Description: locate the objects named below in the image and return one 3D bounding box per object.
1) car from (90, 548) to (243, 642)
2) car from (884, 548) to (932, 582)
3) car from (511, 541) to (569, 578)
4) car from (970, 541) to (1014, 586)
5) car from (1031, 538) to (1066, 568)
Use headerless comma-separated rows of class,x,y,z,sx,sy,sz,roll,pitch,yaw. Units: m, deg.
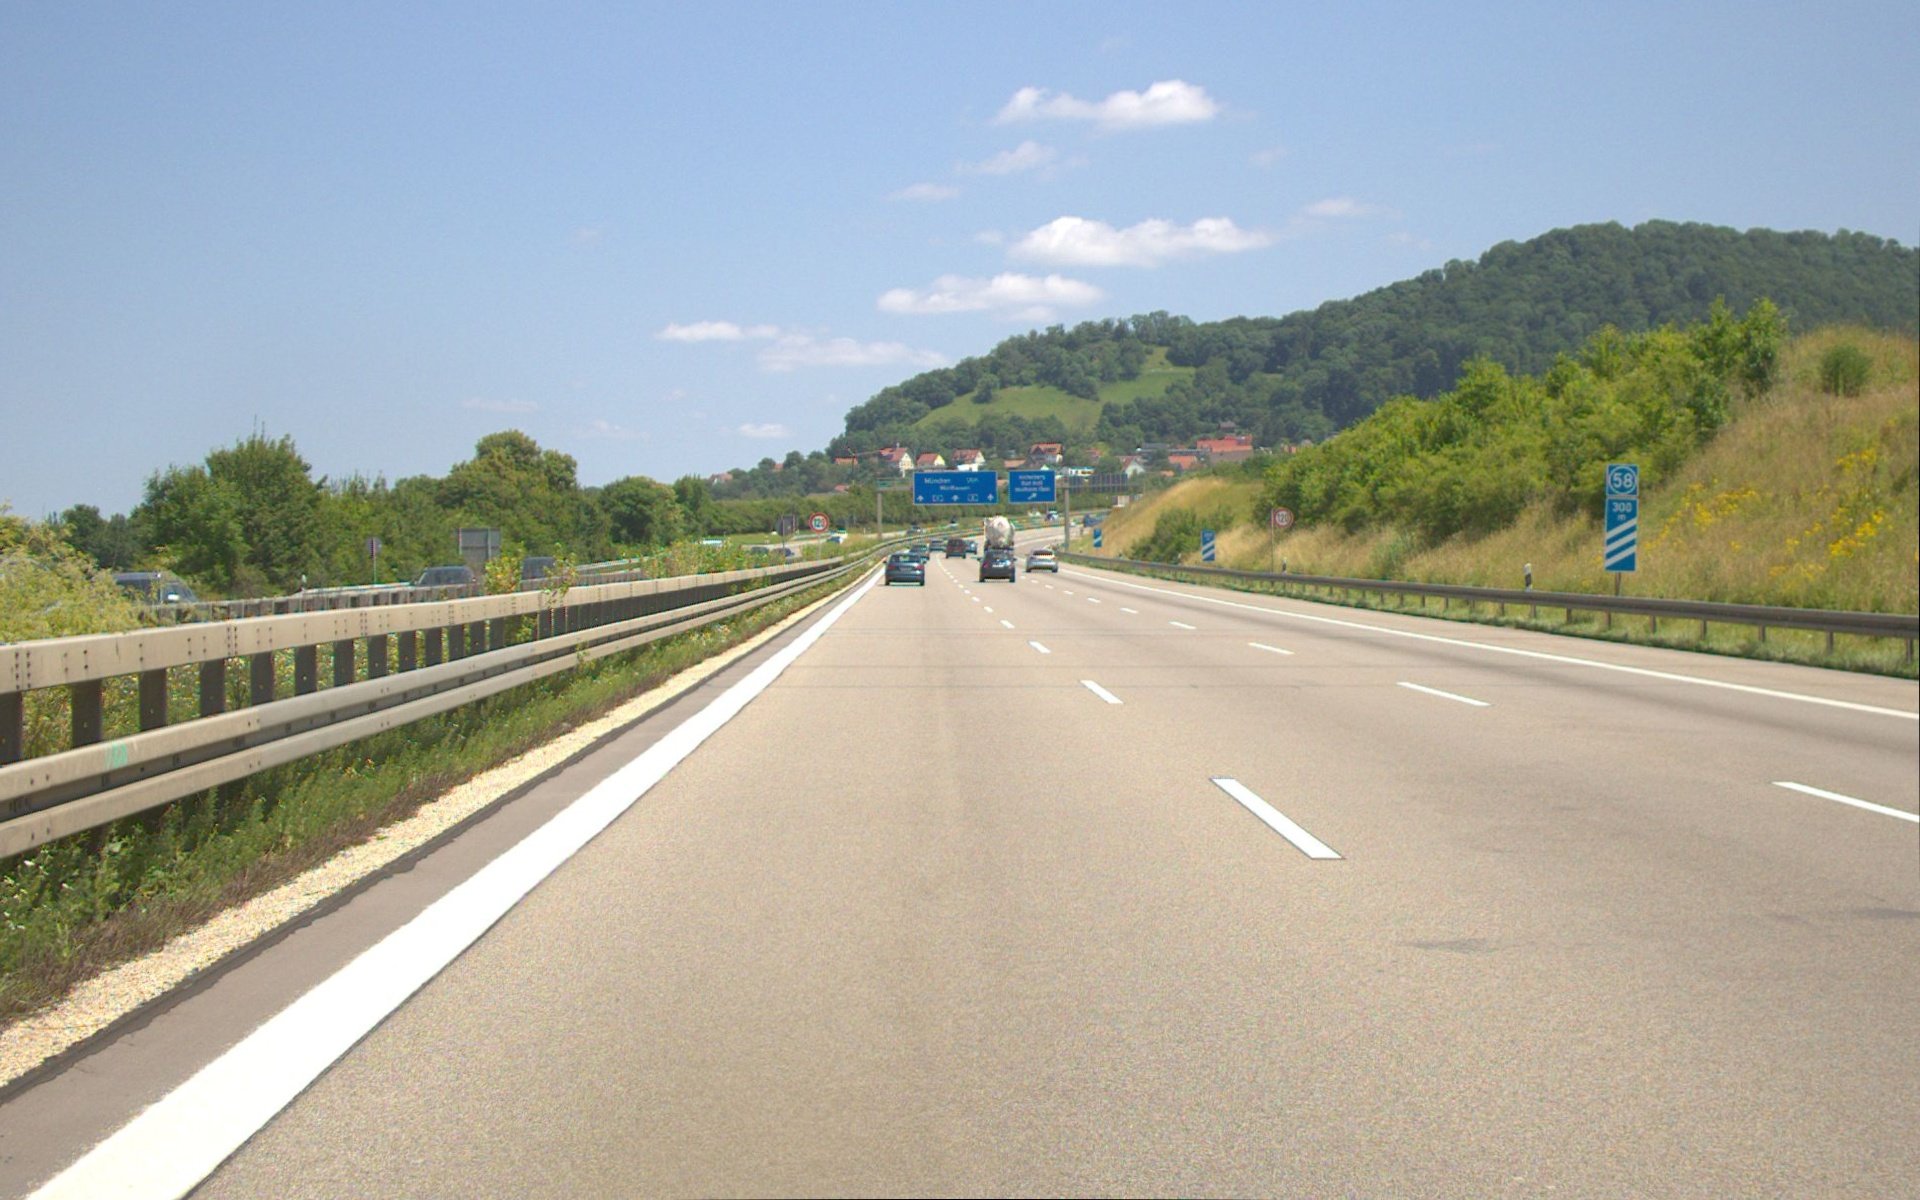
car,-13.582,-0.114,59.028,1.634,1.460,4.000,-2,1,0
car,-2.193,-1.485,146.199,1.993,1.384,4.000,1,1,0
car,-17.881,-1.713,146.573,1.947,1.538,4.286,1,1,-1
car,1.471,-1.699,160.196,1.993,2.007,4.000,1,1,0
car,5.387,-2.888,210.272,1.993,1.812,4.000,-1,1,0
